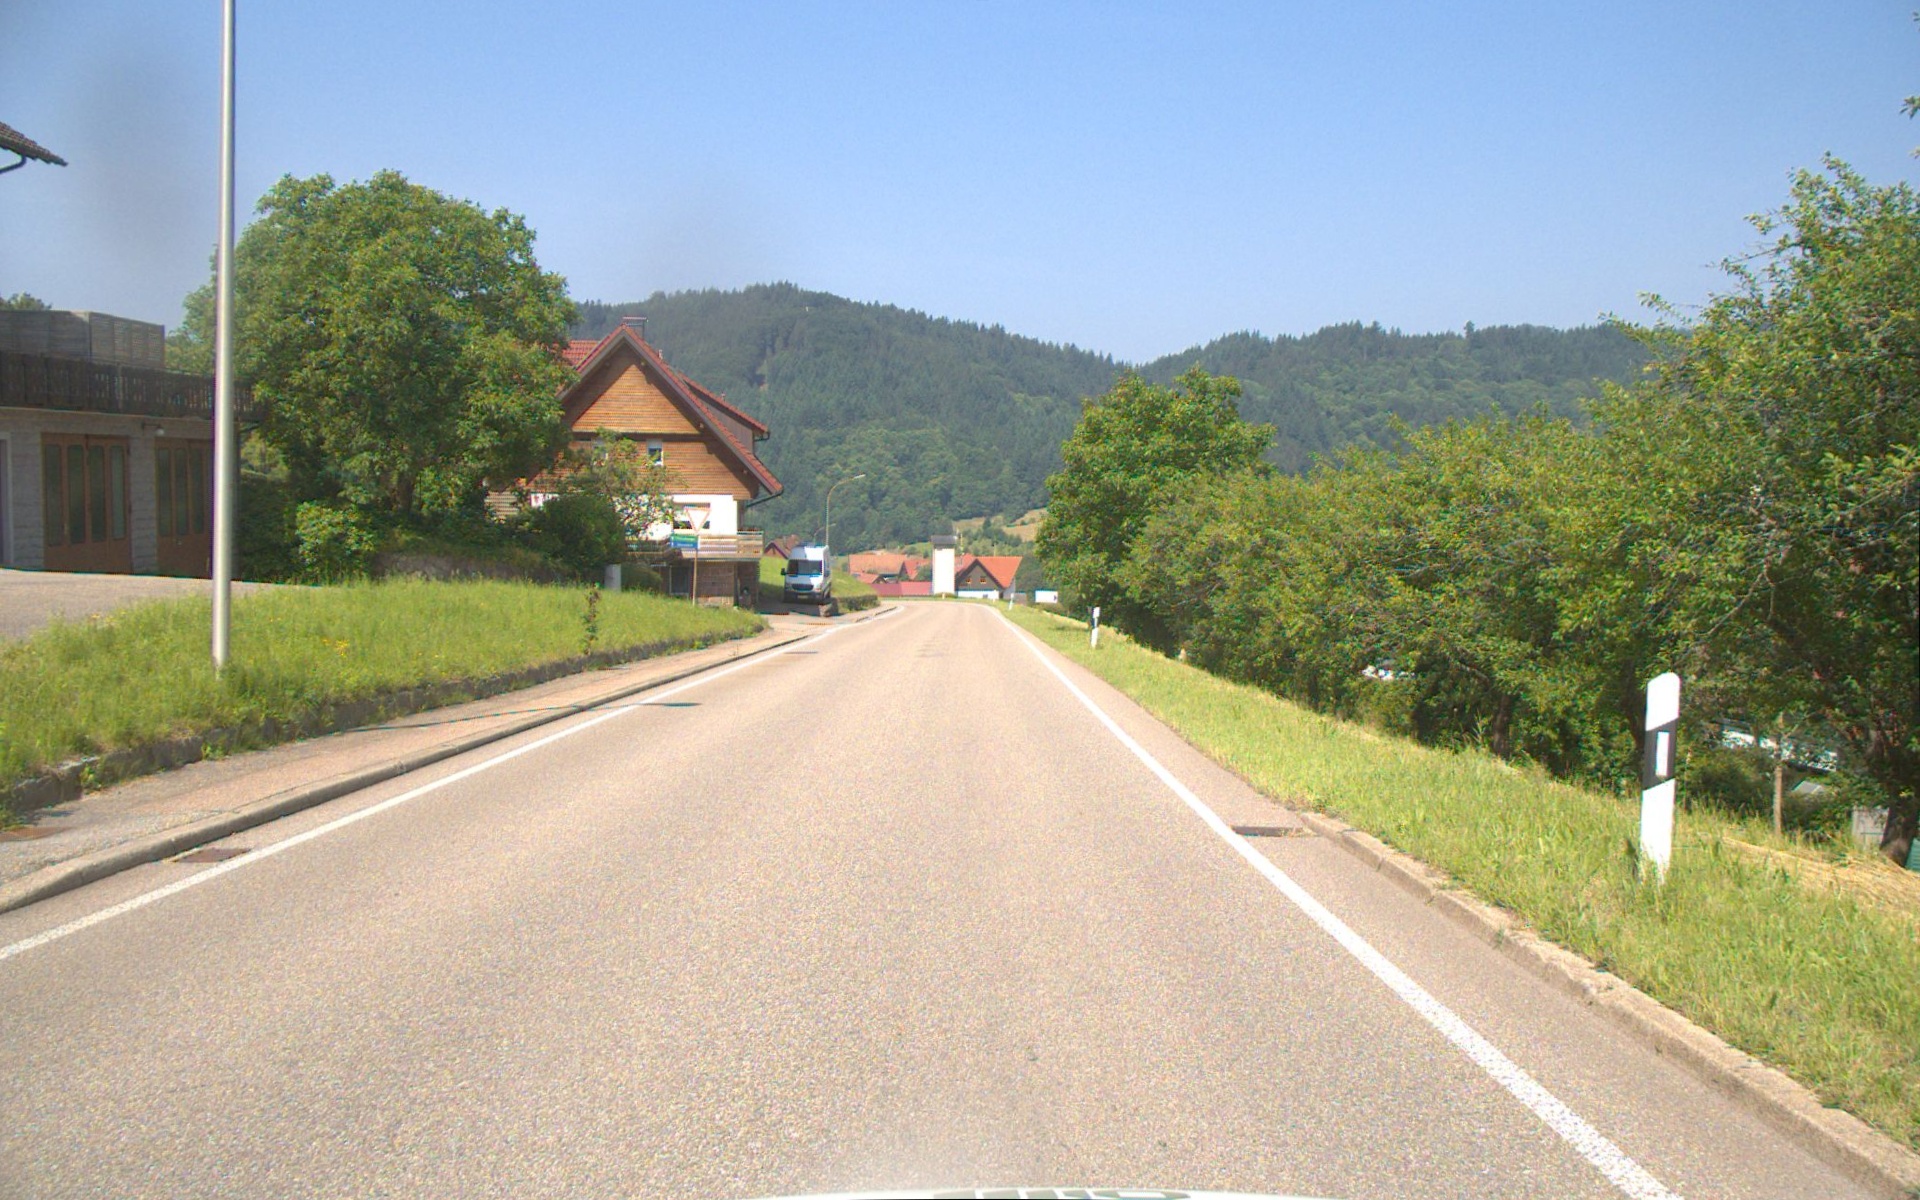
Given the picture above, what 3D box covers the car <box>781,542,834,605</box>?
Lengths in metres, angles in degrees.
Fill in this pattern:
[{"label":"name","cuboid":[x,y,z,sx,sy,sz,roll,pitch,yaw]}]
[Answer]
[{"label":"car","cuboid":[-7.501,-1.388,82.122,2.025,2.734,7.176,0,4,-1]}]
